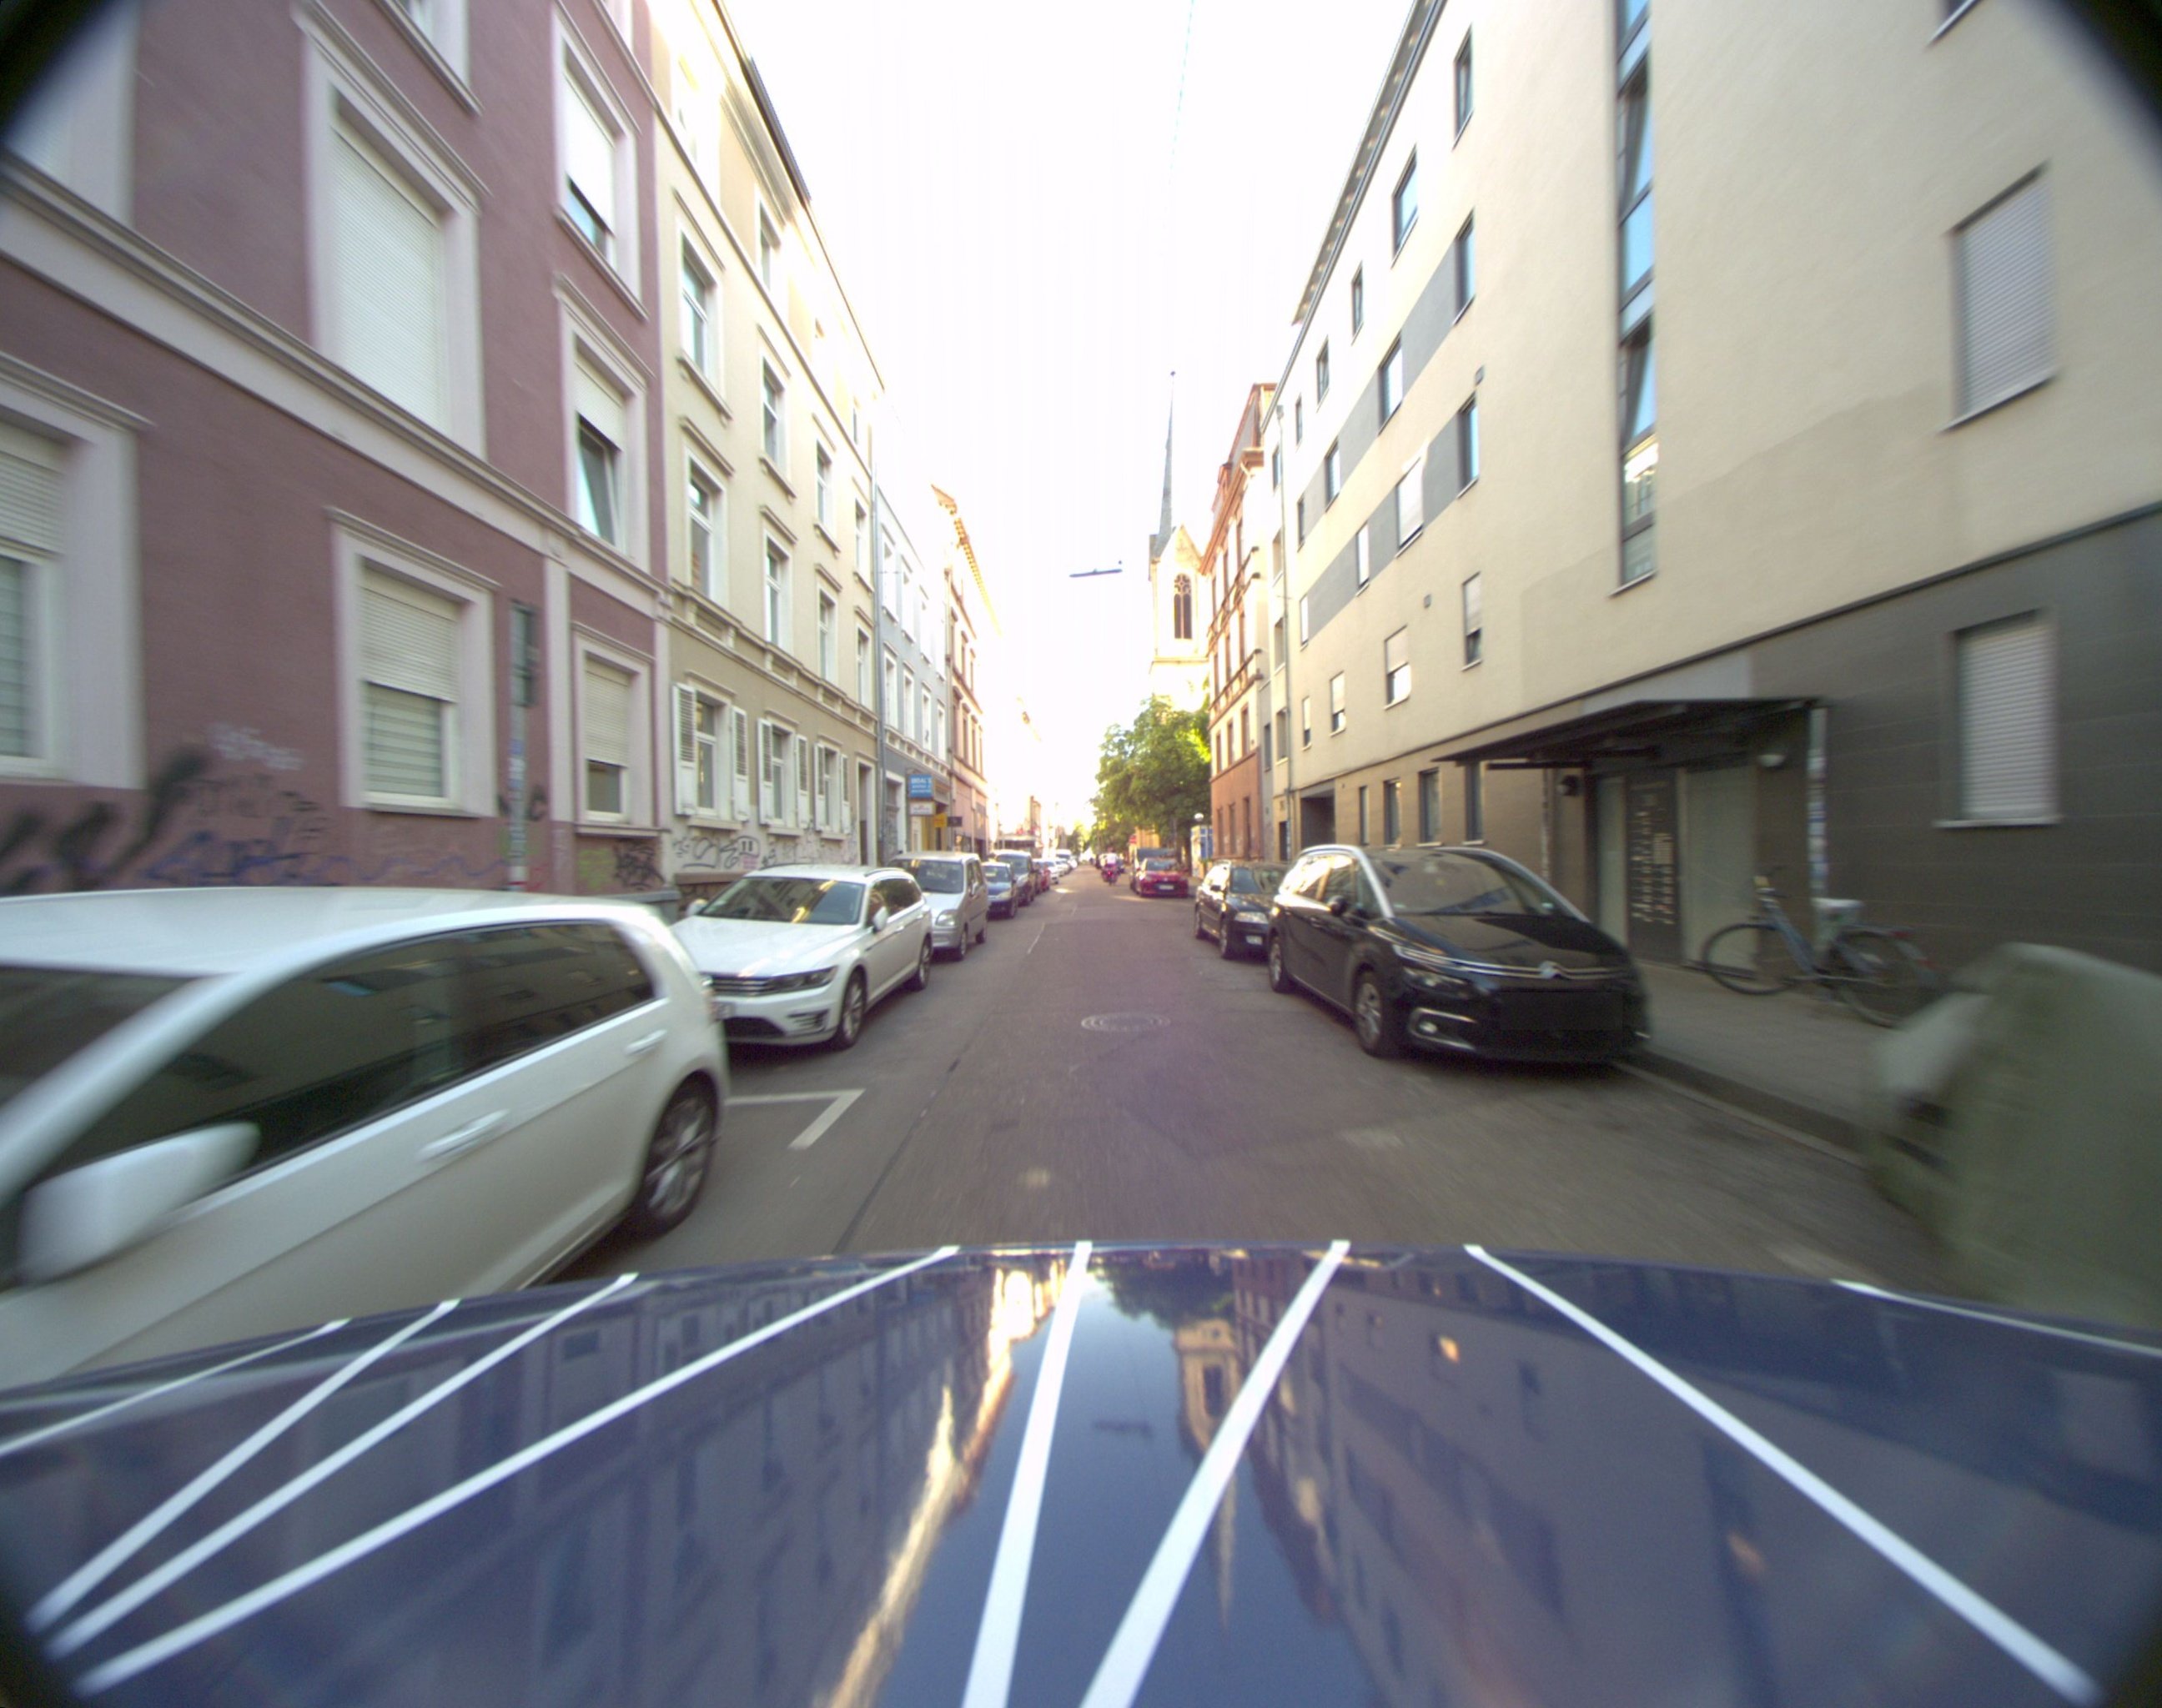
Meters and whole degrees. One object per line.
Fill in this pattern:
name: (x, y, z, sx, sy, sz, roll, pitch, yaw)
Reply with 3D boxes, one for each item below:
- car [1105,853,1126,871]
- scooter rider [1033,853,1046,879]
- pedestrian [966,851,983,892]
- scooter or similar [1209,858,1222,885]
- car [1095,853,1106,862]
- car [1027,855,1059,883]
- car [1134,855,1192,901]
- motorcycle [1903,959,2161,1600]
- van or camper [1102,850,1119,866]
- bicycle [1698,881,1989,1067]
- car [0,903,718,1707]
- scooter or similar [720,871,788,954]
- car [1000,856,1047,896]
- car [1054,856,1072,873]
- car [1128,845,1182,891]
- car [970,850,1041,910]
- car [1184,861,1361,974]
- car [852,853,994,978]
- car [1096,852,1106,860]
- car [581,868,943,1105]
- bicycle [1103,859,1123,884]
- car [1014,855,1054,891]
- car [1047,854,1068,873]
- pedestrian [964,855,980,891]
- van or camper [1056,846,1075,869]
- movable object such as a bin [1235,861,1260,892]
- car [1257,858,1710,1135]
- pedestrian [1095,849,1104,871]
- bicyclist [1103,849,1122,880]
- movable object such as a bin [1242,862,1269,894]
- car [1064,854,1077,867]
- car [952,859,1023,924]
car: (3.323, 0.741, 73.740, 1.798, 1.543, 3.834, -2, 1, 1)
scooter rider: (-2.835, 0.813, 52.438, 0.610, 1.768, 0.566, -1, 2, 40)
pedestrian: (-4.625, 0.736, 33.000, 0.630, 1.730, 0.658, -3, 1, -12)
scooter or similar: (6.371, 0.803, 35.991, 0.348, 1.209, 1.391, -2, 1, 0)
car: (3.727, 0.641, 145.188, 1.777, 1.614, 4.022, -2, 0, -1)
car: (-2.274, 0.902, 46.421, 1.792, 1.507, 4.135, -2, 1, -2)
car: (3.015, 0.832, 28.642, 1.755, 1.513, 3.868, 2, 1, 1)
motorcycle: (3.323, 1.092, 2.391, 0.789, 1.245, 2.112, 1, 0, 42)
van or camper: (3.640, 0.496, 94.581, 1.984, 1.939, 4.563, -2, 0, 1)
bicycle: (5.752, 0.826, 5.906, 0.491, 1.158, 1.773, 1, 0, 1)
car: (-2.593, 1.030, 1.634, 1.691, 1.535, 4.045, 1, 1, 0)
scooter or similar: (-5.107, 0.884, 11.944, 0.451, 1.176, 1.368, 2, 1, 0)
car: (-2.400, 0.893, 32.311, 1.573, 1.548, 3.314, 2, 1, 2)
car: (-1.719, 0.978, 74.957, 1.558, 1.517, 4.200, -2, 1, 1)
car: (3.225, 0.593, 34.276, 2.025, 1.868, 5.297, -2, 0, 2)
car: (-2.478, 0.813, 26.016, 1.904, 1.783, 4.314, -2, 1, 0)
car: (2.875, 0.878, 12.437, 1.721, 1.470, 4.499, 1, -1, 0)
car: (-2.468, 0.890, 12.704, 1.560, 1.702, 3.558, -2, 1, 0)
car: (4.051, 0.420, 151.036, 1.777, 1.614, 4.022, -2, 0, -1)
car: (-2.676, 0.978, 7.677, 1.701, 1.535, 4.628, 1, 1, 0)
bicycle: (1.691, 0.914, 40.281, 0.980, 1.306, 2.555, 0, 0, 1)
car: (-2.228, 0.884, 36.633, 1.610, 1.563, 3.553, -2, 1, 0)
car: (-2.044, 0.777, 65.192, 1.694, 1.454, 3.639, -2, 1, -2)
pedestrian: (-4.826, 0.838, 33.666, 0.589, 1.521, 0.658, -2, 1, -5)
van or camper: (-1.844, 0.410, 90.847, 1.998, 2.617, 5.978, -2, 1, 1)
movable object such as a bin: (5.998, 0.822, 27.361, 0.760, 1.060, 0.652, -2, 1, 20)
car: (2.924, 0.886, 6.711, 1.721, 1.640, 4.246, 1, -1, 0)
pedestrian: (1.639, 0.545, 66.685, 0.718, 1.862, 0.720, -2, 1, 0)
bicyclist: (1.686, 0.554, 40.378, 0.952, 1.618, 0.953, 1, 1, 1)
movable object such as a bin: (6.093, 0.828, 26.476, 0.731, 1.060, 0.505, -3, 1, -31)
car: (-1.412, 0.879, 105.510, 1.696, 1.615, 3.963, -2, 0, 1)
car: (-2.478, 0.949, 20.791, 1.556, 1.502, 3.610, -2, 1, -2)
